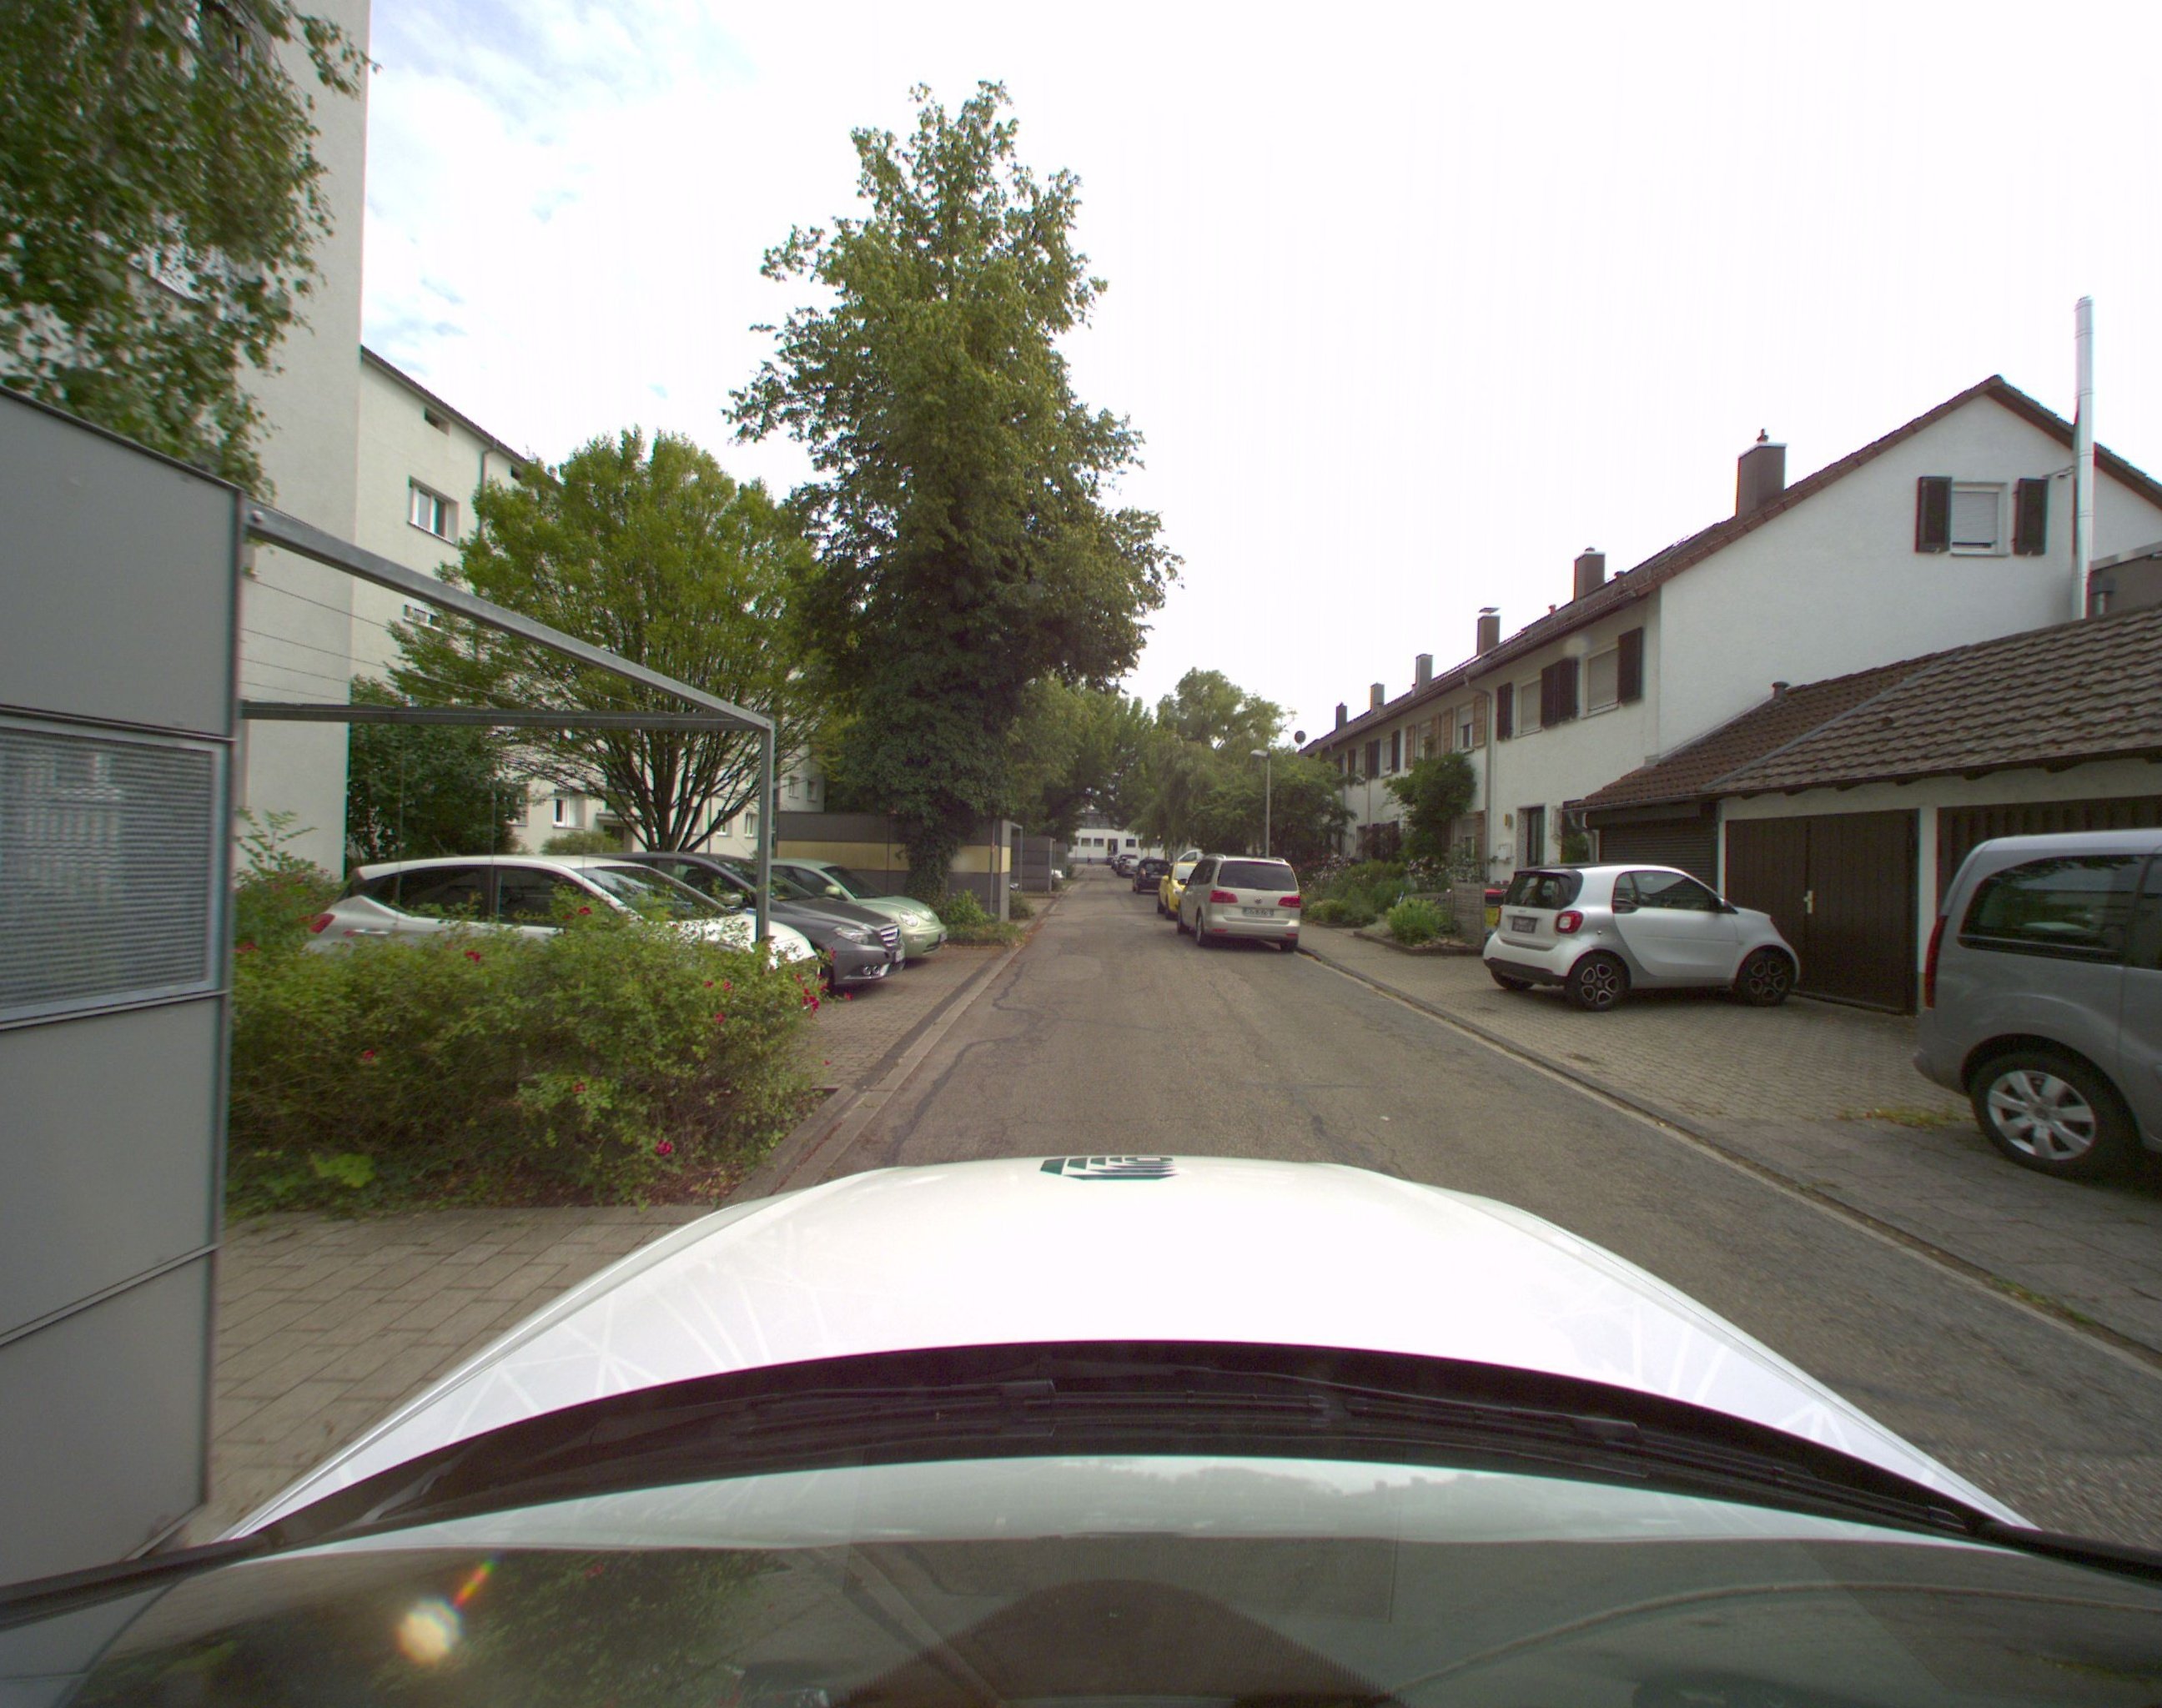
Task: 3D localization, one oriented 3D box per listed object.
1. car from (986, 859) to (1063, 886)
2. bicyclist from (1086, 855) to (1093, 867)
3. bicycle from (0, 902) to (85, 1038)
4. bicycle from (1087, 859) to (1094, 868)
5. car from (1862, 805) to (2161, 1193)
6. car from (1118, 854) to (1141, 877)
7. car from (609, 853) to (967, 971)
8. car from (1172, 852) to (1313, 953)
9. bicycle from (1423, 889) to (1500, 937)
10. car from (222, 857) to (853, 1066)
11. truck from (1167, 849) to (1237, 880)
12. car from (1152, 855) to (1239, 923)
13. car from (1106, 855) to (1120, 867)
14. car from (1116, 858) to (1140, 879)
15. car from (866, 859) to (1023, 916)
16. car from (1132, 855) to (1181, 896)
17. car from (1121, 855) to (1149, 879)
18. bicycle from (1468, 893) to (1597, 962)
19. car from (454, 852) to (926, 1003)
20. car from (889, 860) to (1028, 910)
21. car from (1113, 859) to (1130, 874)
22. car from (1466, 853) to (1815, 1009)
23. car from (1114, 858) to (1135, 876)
[{"bbox_3d":[-2.987,0.975,43.653,4.018,1.394,1.738,0,0,0],"label":"car"},{"bbox_3d":[1.089,0.869,101.124,0.796,1.511,0.933,3,-1,-2],"label":"bicyclist"},{"bbox_3d":[-8.995,0.902,6.205,1.672,1.004,0.572,1,-1,-29],"label":"bicycle"},{"bbox_3d":[1.125,1.177,101.054,0.687,1.131,2.577,3,0,-2],"label":"bicycle"},{"bbox_3d":[5.878,0.635,2.944,1.821,1.777,4.336,-1,-1,-3],"label":"car"},{"bbox_3d":[4.300,1.011,72.534,1.818,1.883,4.001,3,0,2],"label":"car"},{"bbox_3d":[-3.977,0.763,11.613,4.397,1.502,1.841,0,0,1],"label":"car"},{"bbox_3d":[2.919,0.810,15.557,1.819,1.581,3.999,3,0,0],"label":"car"},{"bbox_3d":[7.829,1.208,16.776,1.372,0.896,0.431,-2,0,-5],"label":"bicycle"},{"bbox_3d":[-4.149,0.771,6.734,3.973,1.459,1.795,0,0,1],"label":"car"},{"bbox_3d":[7.961,0.677,53.941,4.375,2.014,2.000,0,-1,0],"label":"truck"},{"bbox_3d":[2.983,0.861,21.974,1.818,1.581,4.001,3,0,2],"label":"car"},{"bbox_3d":[4.434,0.989,113.243,1.818,1.581,4.001,3,0,2],"label":"car"},{"bbox_3d":[3.816,1.161,66.507,1.818,1.581,4.001,3,0,2],"label":"car"},{"bbox_3d":[-3.662,0.897,22.354,3.974,1.464,1.738,0,0,0],"label":"car"},{"bbox_3d":[3.267,0.888,35.881,1.818,1.581,4.194,3,0,2],"label":"car"},{"bbox_3d":[3.998,0.950,60.775,1.818,1.581,4.001,3,0,2],"label":"car"},{"bbox_3d":[6.835,1.106,12.375,1.619,0.989,0.615,0,0,1],"label":"bicycle"},{"bbox_3d":[-4.153,0.750,9.206,4.397,1.502,1.841,0,0,1],"label":"car"},{"bbox_3d":[-3.683,0.918,25.065,3.974,1.464,1.738,0,0,0],"label":"car"},{"bbox_3d":[5.023,1.505,100.962,1.986,1.720,4.196,3,0,2],"label":"car"},{"bbox_3d":[6.223,0.793,9.312,2.809,1.569,1.740,-1,0,-2],"label":"car"},{"bbox_3d":[4.551,1.334,85.752,1.986,1.720,4.196,3,0,2],"label":"car"}]
